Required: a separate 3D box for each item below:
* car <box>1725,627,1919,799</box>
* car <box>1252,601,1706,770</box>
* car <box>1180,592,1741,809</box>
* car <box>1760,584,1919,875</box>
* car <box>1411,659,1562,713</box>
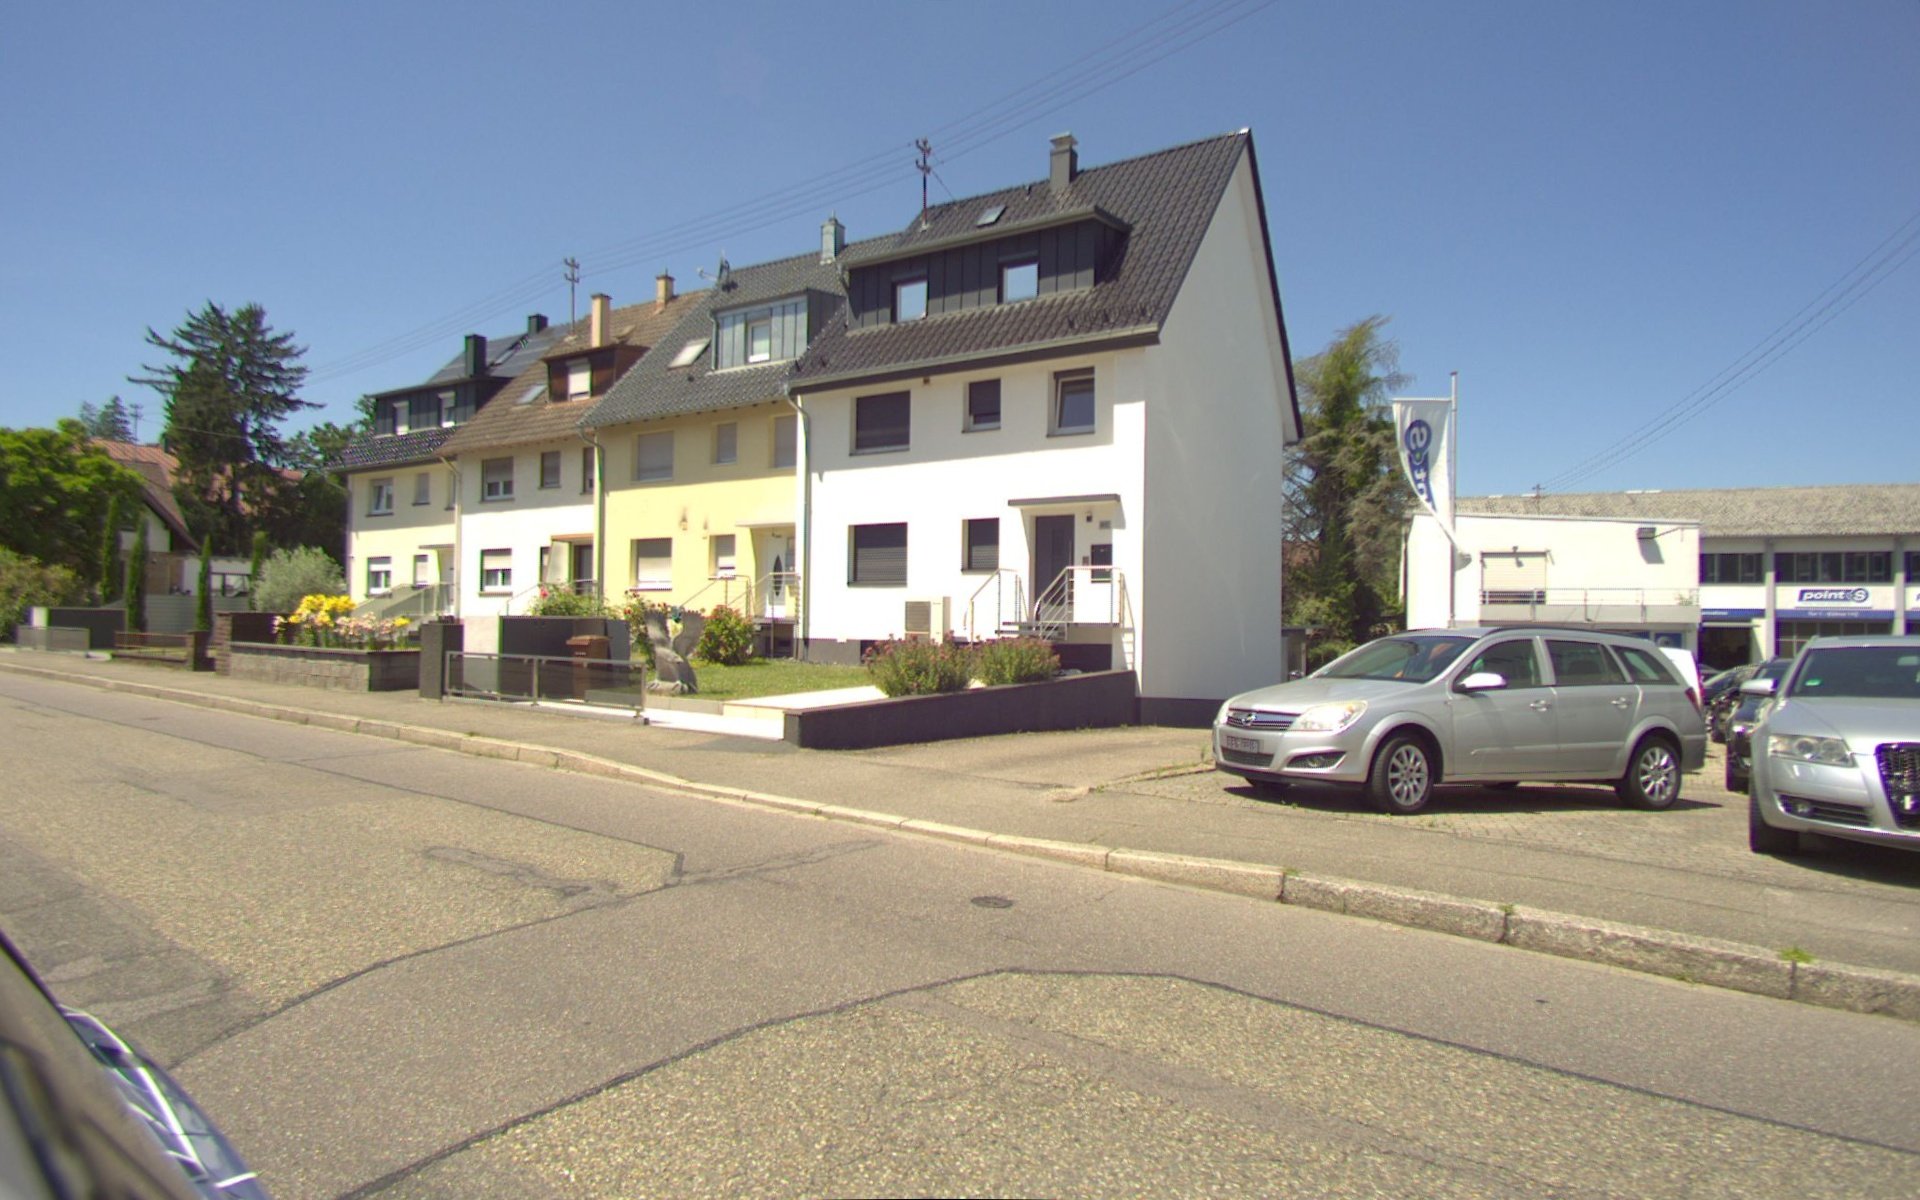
[{"bbox_3d":[9.603,1.196,10.906,1.974,1.507,4.426,-1,-5,40],"label":"car"},{"bbox_3d":[5.649,0.925,11.359,4.144,1.657,1.854,2,-2,-4],"label":"car"},{"bbox_3d":[4.220,0.798,8.629,4.201,1.507,1.882,2,-2,-20],"label":"car"},{"bbox_3d":[6.654,0.766,6.741,1.974,1.507,4.426,-1,-3,40],"label":"car"},{"bbox_3d":[16.273,2.635,31.528,4.038,1.418,1.751,0,-1,24],"label":"car"}]
